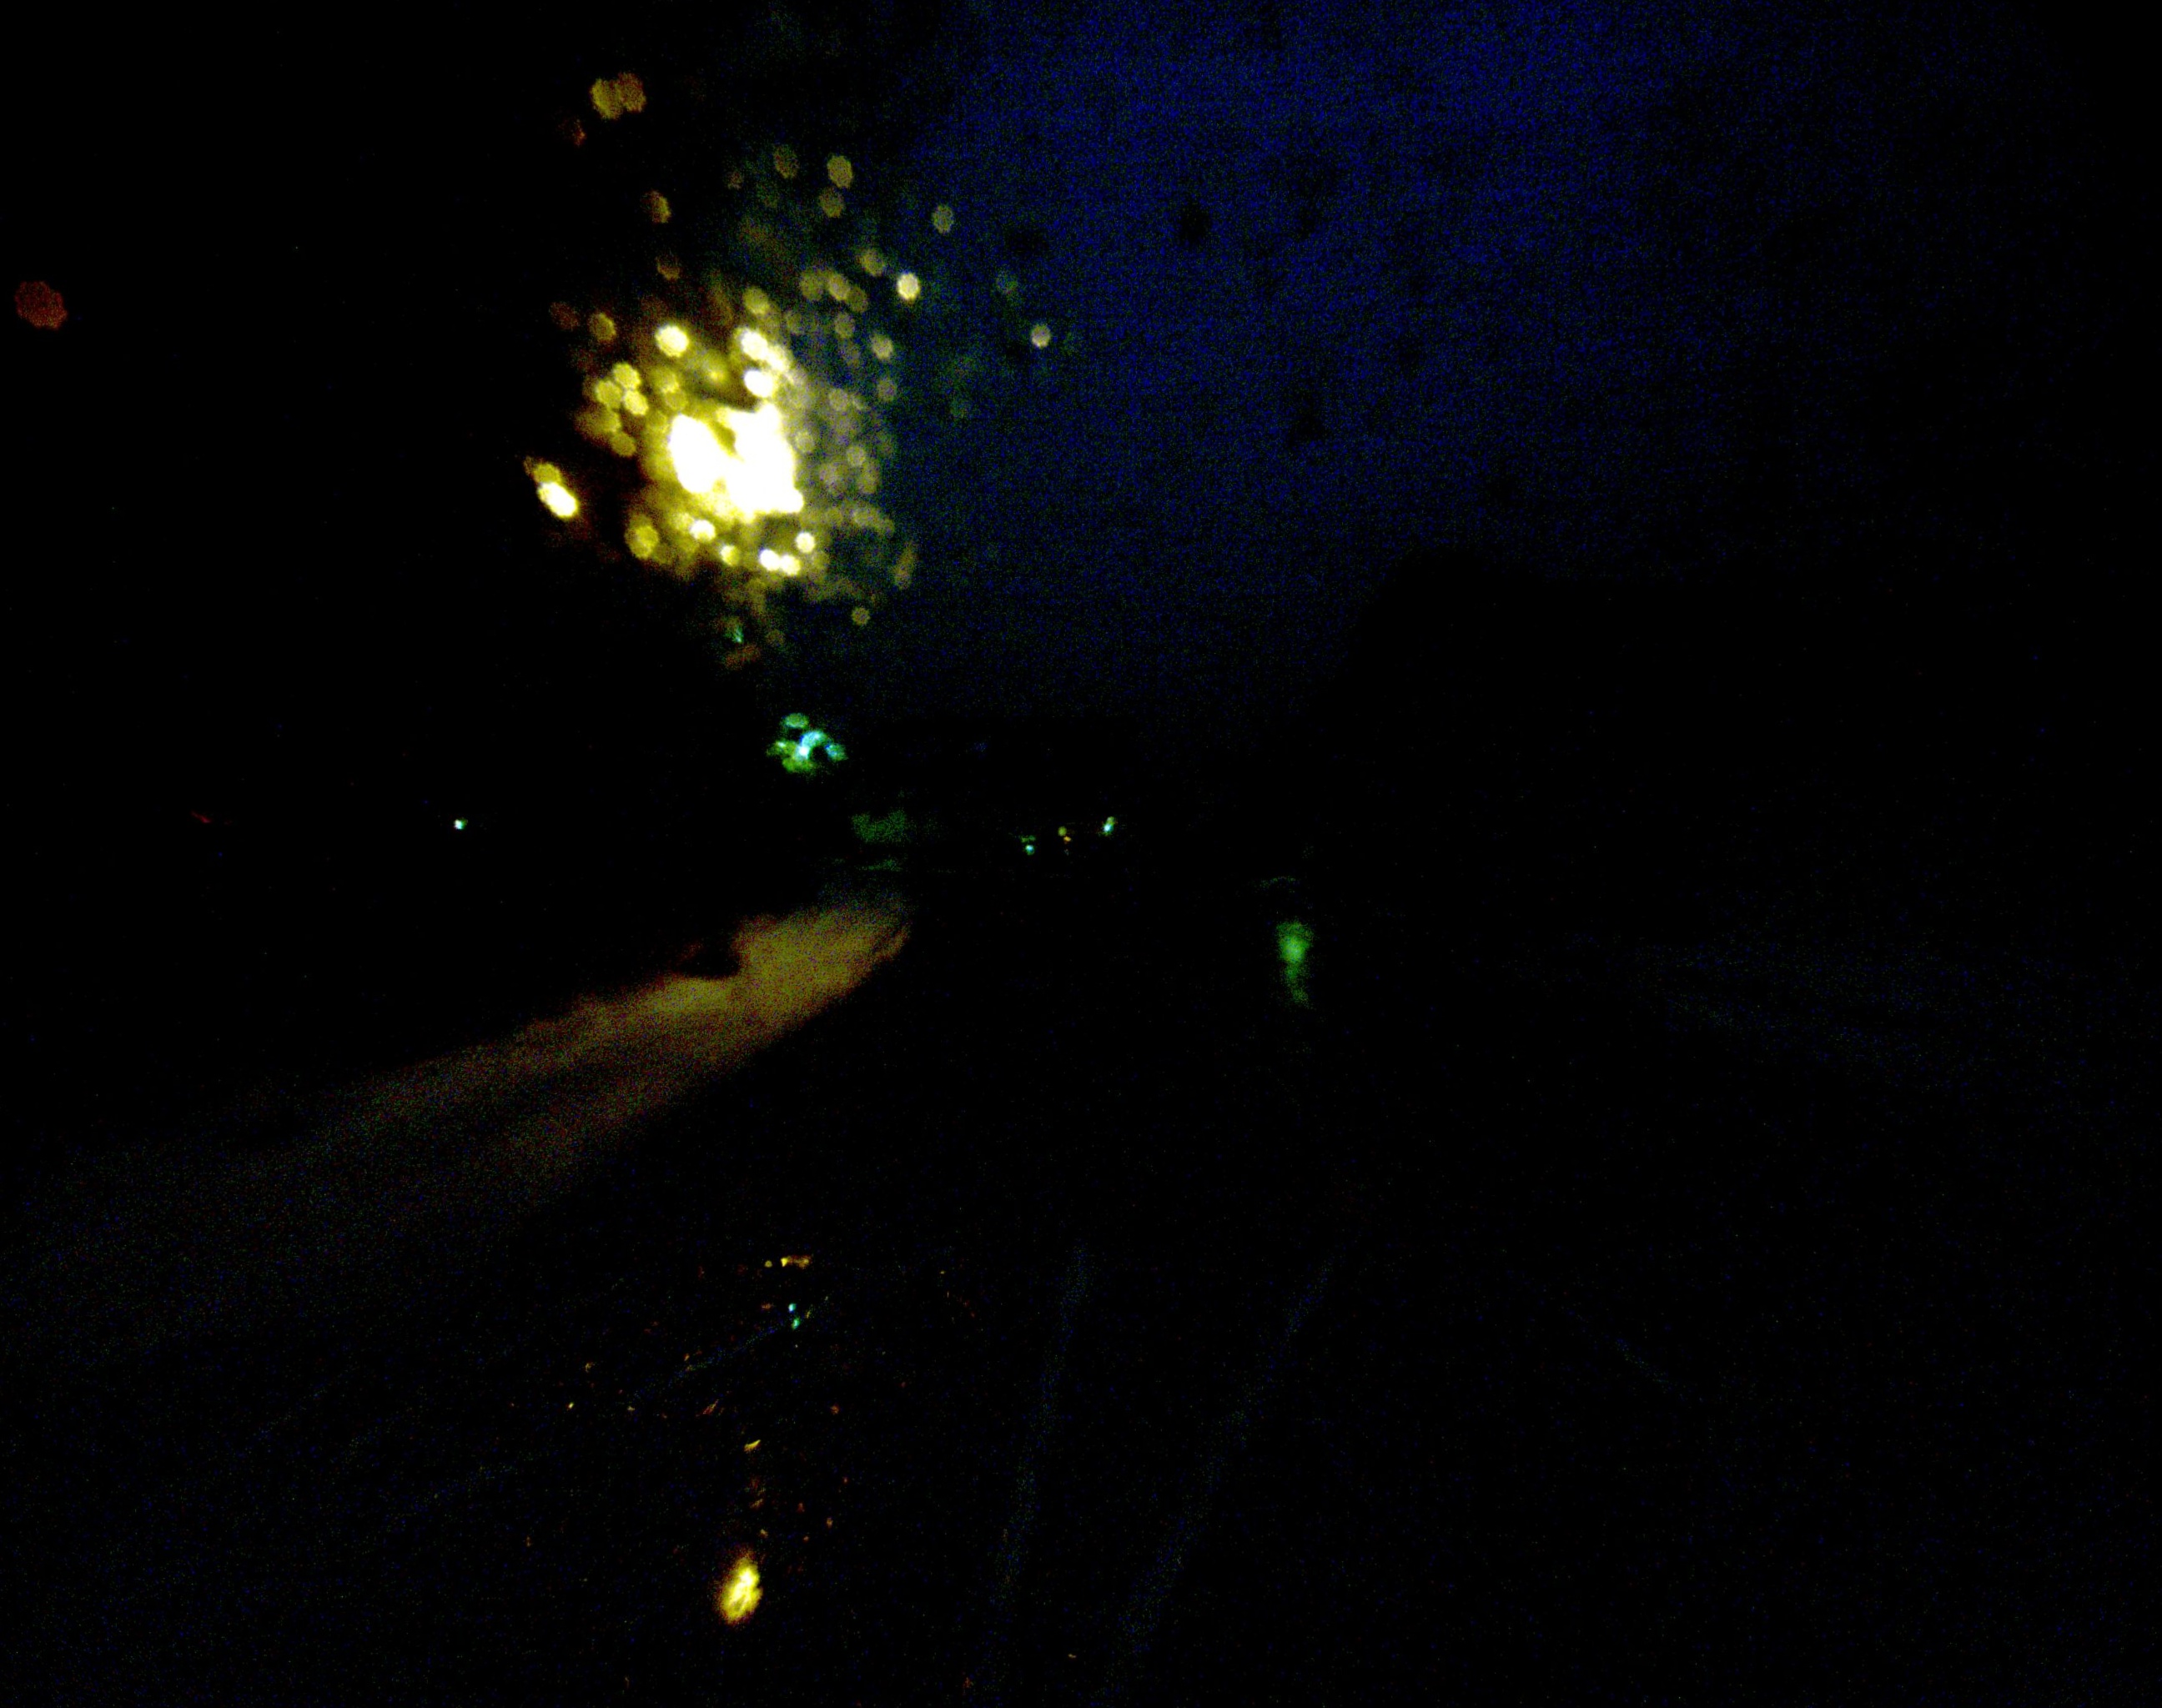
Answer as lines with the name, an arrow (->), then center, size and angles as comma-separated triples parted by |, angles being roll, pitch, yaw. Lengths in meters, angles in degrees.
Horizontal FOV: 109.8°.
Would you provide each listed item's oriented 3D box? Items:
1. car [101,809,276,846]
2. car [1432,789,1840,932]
car -> -39.361, -1.140, 33.635 | 4.933, 1.373, 1.999 | 2, 0, -7
car -> 8.988, 0.035, 12.678 | 5.276, 2.003, 2.212 | -2, 4, -4
